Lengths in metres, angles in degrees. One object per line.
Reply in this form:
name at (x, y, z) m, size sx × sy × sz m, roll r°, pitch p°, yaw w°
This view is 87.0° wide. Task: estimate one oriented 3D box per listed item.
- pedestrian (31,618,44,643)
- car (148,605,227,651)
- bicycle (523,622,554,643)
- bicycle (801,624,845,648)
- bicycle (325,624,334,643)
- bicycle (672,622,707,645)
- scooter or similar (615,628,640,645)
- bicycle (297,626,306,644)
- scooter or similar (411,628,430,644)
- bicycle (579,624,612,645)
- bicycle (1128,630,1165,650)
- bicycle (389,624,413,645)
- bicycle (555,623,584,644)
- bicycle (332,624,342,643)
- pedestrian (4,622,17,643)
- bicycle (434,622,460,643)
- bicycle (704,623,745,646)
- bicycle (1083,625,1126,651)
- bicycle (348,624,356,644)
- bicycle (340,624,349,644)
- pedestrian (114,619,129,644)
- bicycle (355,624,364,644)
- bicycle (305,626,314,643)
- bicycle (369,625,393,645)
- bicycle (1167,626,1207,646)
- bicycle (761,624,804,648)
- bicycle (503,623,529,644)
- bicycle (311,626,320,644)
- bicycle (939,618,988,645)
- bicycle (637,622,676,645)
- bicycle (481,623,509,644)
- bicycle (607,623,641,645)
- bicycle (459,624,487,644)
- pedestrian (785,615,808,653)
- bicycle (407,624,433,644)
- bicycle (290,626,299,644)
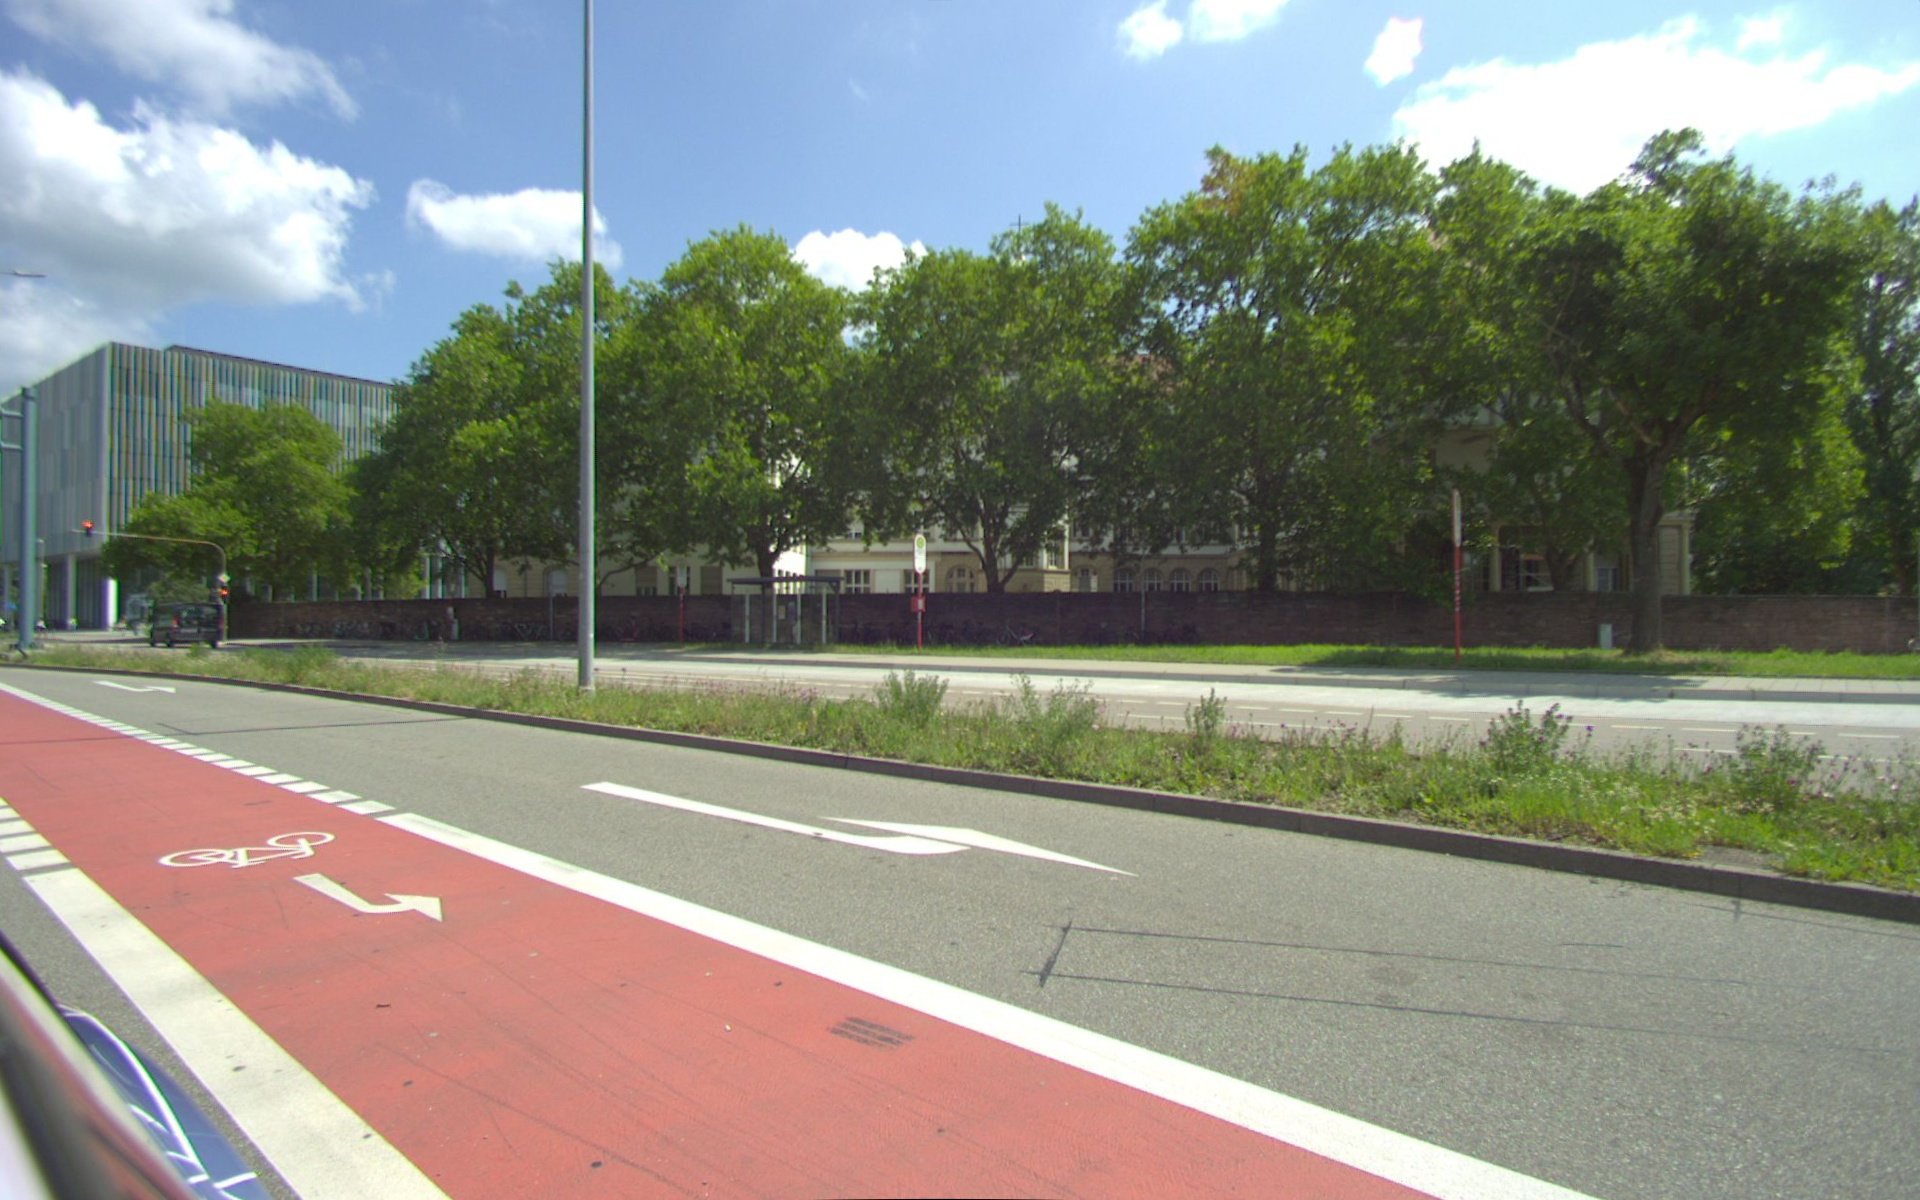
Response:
pedestrian at (-72.989, 2.390, 80.110) m, size 0.717 × 1.932 × 0.624 m, roll 0°, pitch 0°, yaw 36°
car at (-38.364, 1.410, 50.238) m, size 4.517 × 2.188 × 2.186 m, roll -1°, pitch -3°, yaw 41°
bicycle at (-21.061, 1.619, 50.578) m, size 1.752 × 1.051 × 0.394 m, roll -1°, pitch -1°, yaw 26°
bicycle at (-5.957, 1.561, 44.024) m, size 1.943 × 1.051 × 0.395 m, roll -1°, pitch -1°, yaw 21°
bicycle at (-36.836, 1.960, 59.112) m, size 0.376 × 1.116 × 1.675 m, roll 0°, pitch -1°, yaw -29°
bicycle at (-12.467, 1.557, 46.661) m, size 1.628 × 1.051 × 0.395 m, roll -1°, pitch -1°, yaw 21°
scooter or similar at (-15.512, 1.710, 47.224) m, size 1.060 × 0.800 × 0.351 m, roll 0°, pitch -1°, yaw 15°
bicycle at (-39.871, 2.115, 61.270) m, size 0.324 × 1.025 × 1.675 m, roll 0°, pitch -1°, yaw -29°
scooter or similar at (-28.752, 1.918, 53.903) m, size 1.064 × 0.850 × 0.350 m, roll -1°, pitch -1°, yaw 27°
bicycle at (-17.617, 1.653, 48.915) m, size 1.752 × 1.011 × 0.394 m, roll -1°, pitch -1°, yaw 26°
bicycle at (7.410, 1.593, 40.206) m, size 1.451 × 0.795 × 0.396 m, roll 0°, pitch -1°, yaw 13°
bicycle at (-30.876, 1.891, 55.892) m, size 1.663 × 1.116 × 0.379 m, roll -1°, pitch -1°, yaw 29°
bicycle at (-19.171, 1.642, 49.672) m, size 1.575 × 1.051 × 0.394 m, roll -1°, pitch -1°, yaw 26°
bicycle at (-36.337, 1.956, 59.033) m, size 0.376 × 1.116 × 1.675 m, roll 0°, pitch -1°, yaw -29°
pedestrian at (-89.974, 3.053, 95.894) m, size 0.806 × 1.931 × 0.707 m, roll 0°, pitch 0°, yaw 34°
bicycle at (-27.206, 1.716, 53.663) m, size 1.662 × 1.051 × 0.379 m, roll -1°, pitch -1°, yaw 28°
bicycle at (-10.702, 1.552, 45.979) m, size 1.943 × 1.051 × 0.395 m, roll -1°, pitch -1°, yaw 21°
bicycle at (5.794, 1.509, 40.609) m, size 1.670 × 1.038 × 0.396 m, roll 0°, pitch -1°, yaw 13°
bicycle at (-34.917, 1.946, 58.124) m, size 0.376 × 1.116 × 1.675 m, roll 0°, pitch -1°, yaw -29°
bicycle at (-35.643, 1.953, 58.595) m, size 0.376 × 1.116 × 1.675 m, roll 0°, pitch -1°, yaw -29°
pedestrian at (-65.914, 2.504, 79.560) m, size 0.806 × 1.931 × 0.707 m, roll 0°, pitch 0°, yaw 34°
bicycle at (-34.251, 1.942, 57.747) m, size 0.376 × 1.116 × 1.675 m, roll 0°, pitch -1°, yaw -29°
bicycle at (-39.075, 2.075, 60.780) m, size 0.324 × 1.025 × 1.675 m, roll 0°, pitch -1°, yaw -29°
bicycle at (-32.591, 1.944, 56.971) m, size 1.664 × 1.116 × 0.379 m, roll -1°, pitch -1°, yaw 31°
bicycle at (8.948, 1.407, 39.840) m, size 1.529 × 0.795 × 0.396 m, roll 0°, pitch -1°, yaw 13°
bicycle at (-7.837, 1.586, 44.765) m, size 1.943 × 1.051 × 0.395 m, roll -1°, pitch -1°, yaw 21°
bicycle at (-22.519, 1.680, 51.292) m, size 1.409 × 1.051 × 0.374 m, roll -1°, pitch -1°, yaw 26°
bicycle at (-38.460, 2.074, 60.407) m, size 0.324 × 1.025 × 1.675 m, roll 0°, pitch -1°, yaw -29°
bicycle at (0.151, 1.307, 42.191) m, size 2.020 × 1.146 × 0.396 m, roll 0°, pitch -1°, yaw 16°
bicycle at (-14.207, 1.572, 47.343) m, size 1.945 × 1.051 × 0.395 m, roll -1°, pitch -1°, yaw 23°
bicycle at (-23.925, 1.726, 52.035) m, size 1.662 × 1.051 × 0.379 m, roll -1°, pitch -1°, yaw 28°
bicycle at (-15.979, 1.599, 48.136) m, size 1.751 × 1.051 × 0.395 m, roll -1°, pitch -1°, yaw 24°
bicycle at (-25.424, 1.768, 52.840) m, size 1.662 × 1.051 × 0.379 m, roll -1°, pitch -1°, yaw 28°
pedestrian at (-6.906, 1.432, 42.773) m, size 0.772 × 1.623 × 0.720 m, roll 0°, pitch -1°, yaw 10°
bicycle at (-29.393, 1.839, 55.071) m, size 1.662 × 1.116 × 0.379 m, roll -1°, pitch -1°, yaw 28°
bicycle at (-40.516, 2.125, 61.634) m, size 0.324 × 1.025 × 1.675 m, roll 0°, pitch -1°, yaw -29°
